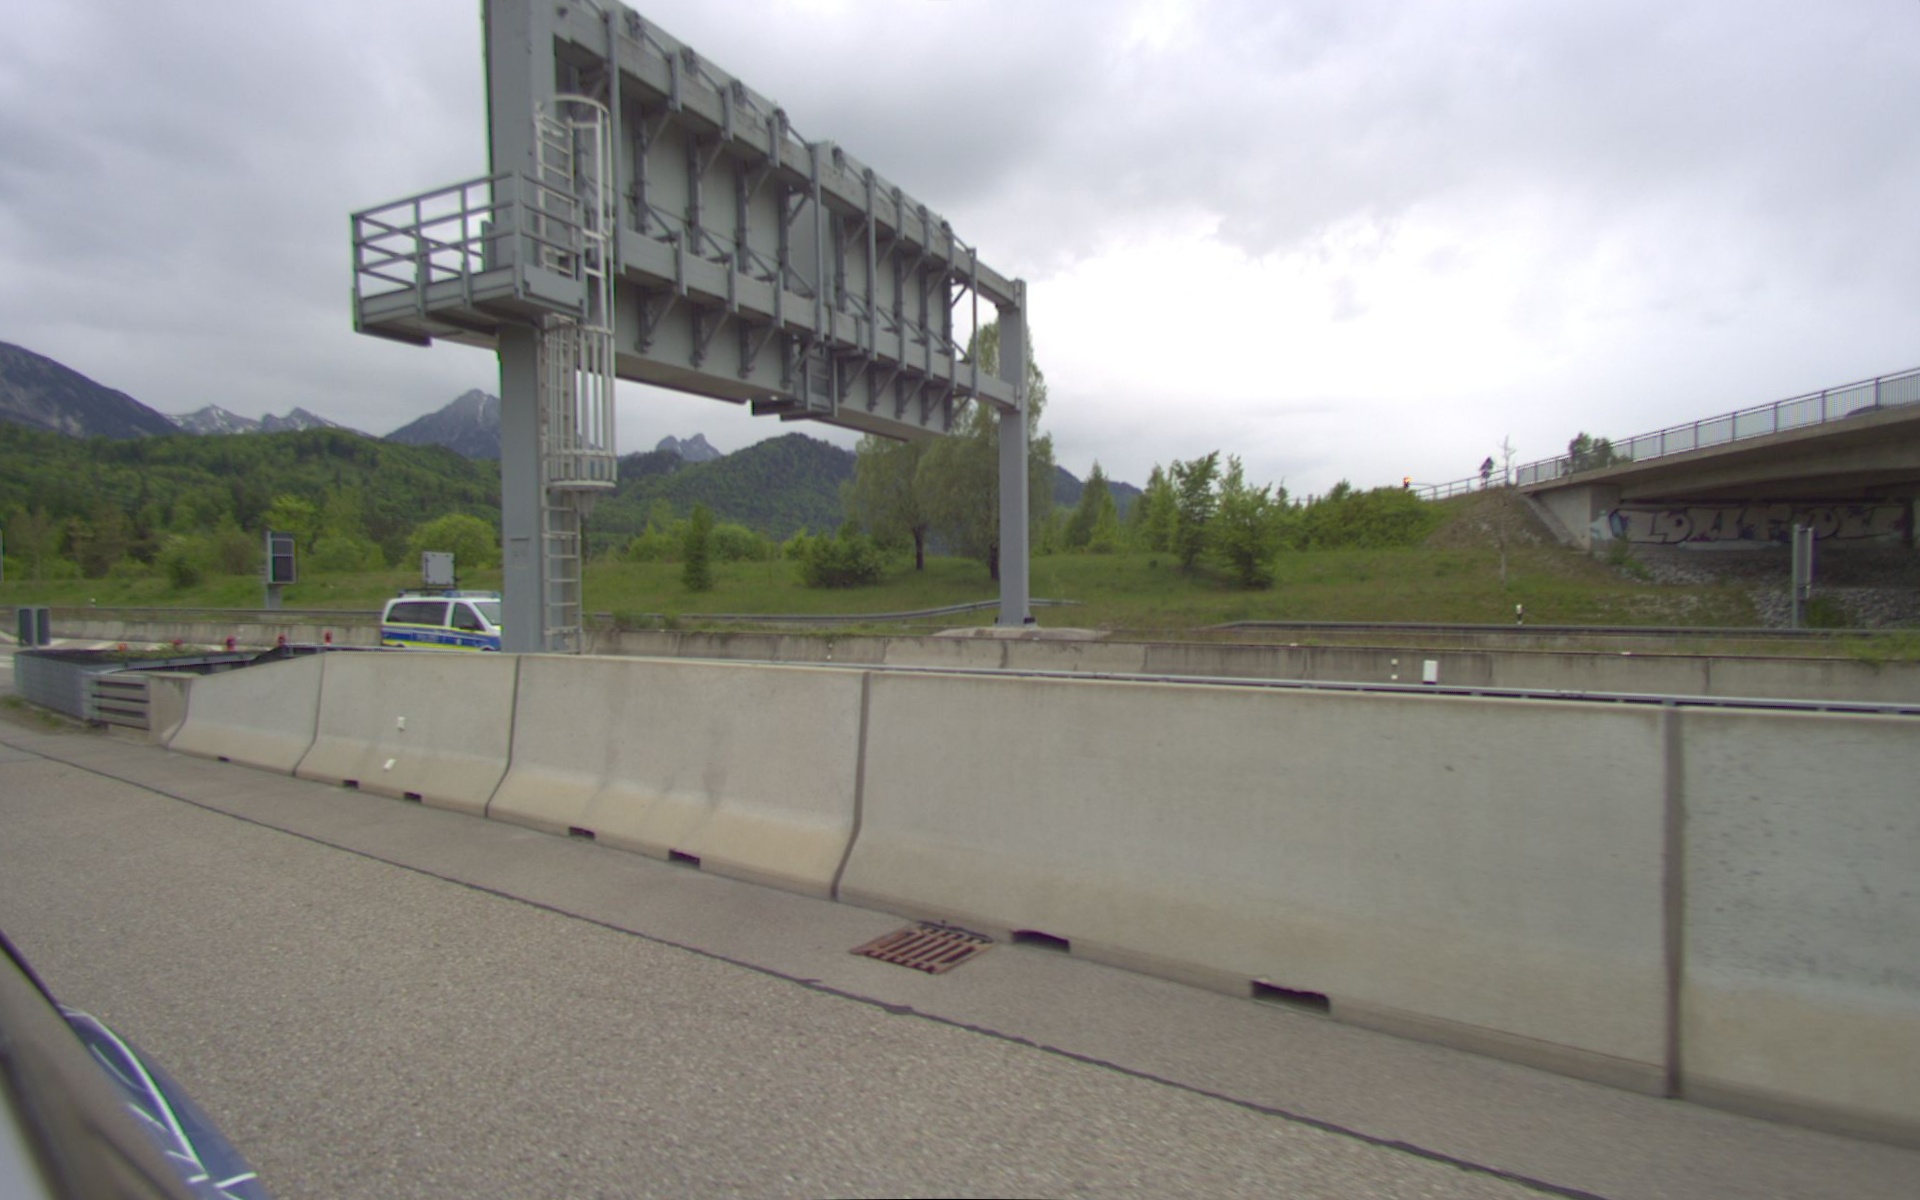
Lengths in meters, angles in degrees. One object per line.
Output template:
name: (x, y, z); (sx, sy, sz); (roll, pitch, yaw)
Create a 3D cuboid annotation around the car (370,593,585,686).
car: (-11.547, 0.874, 24.172); (5.029, 2.029, 2.085); (0, -1, 28)
